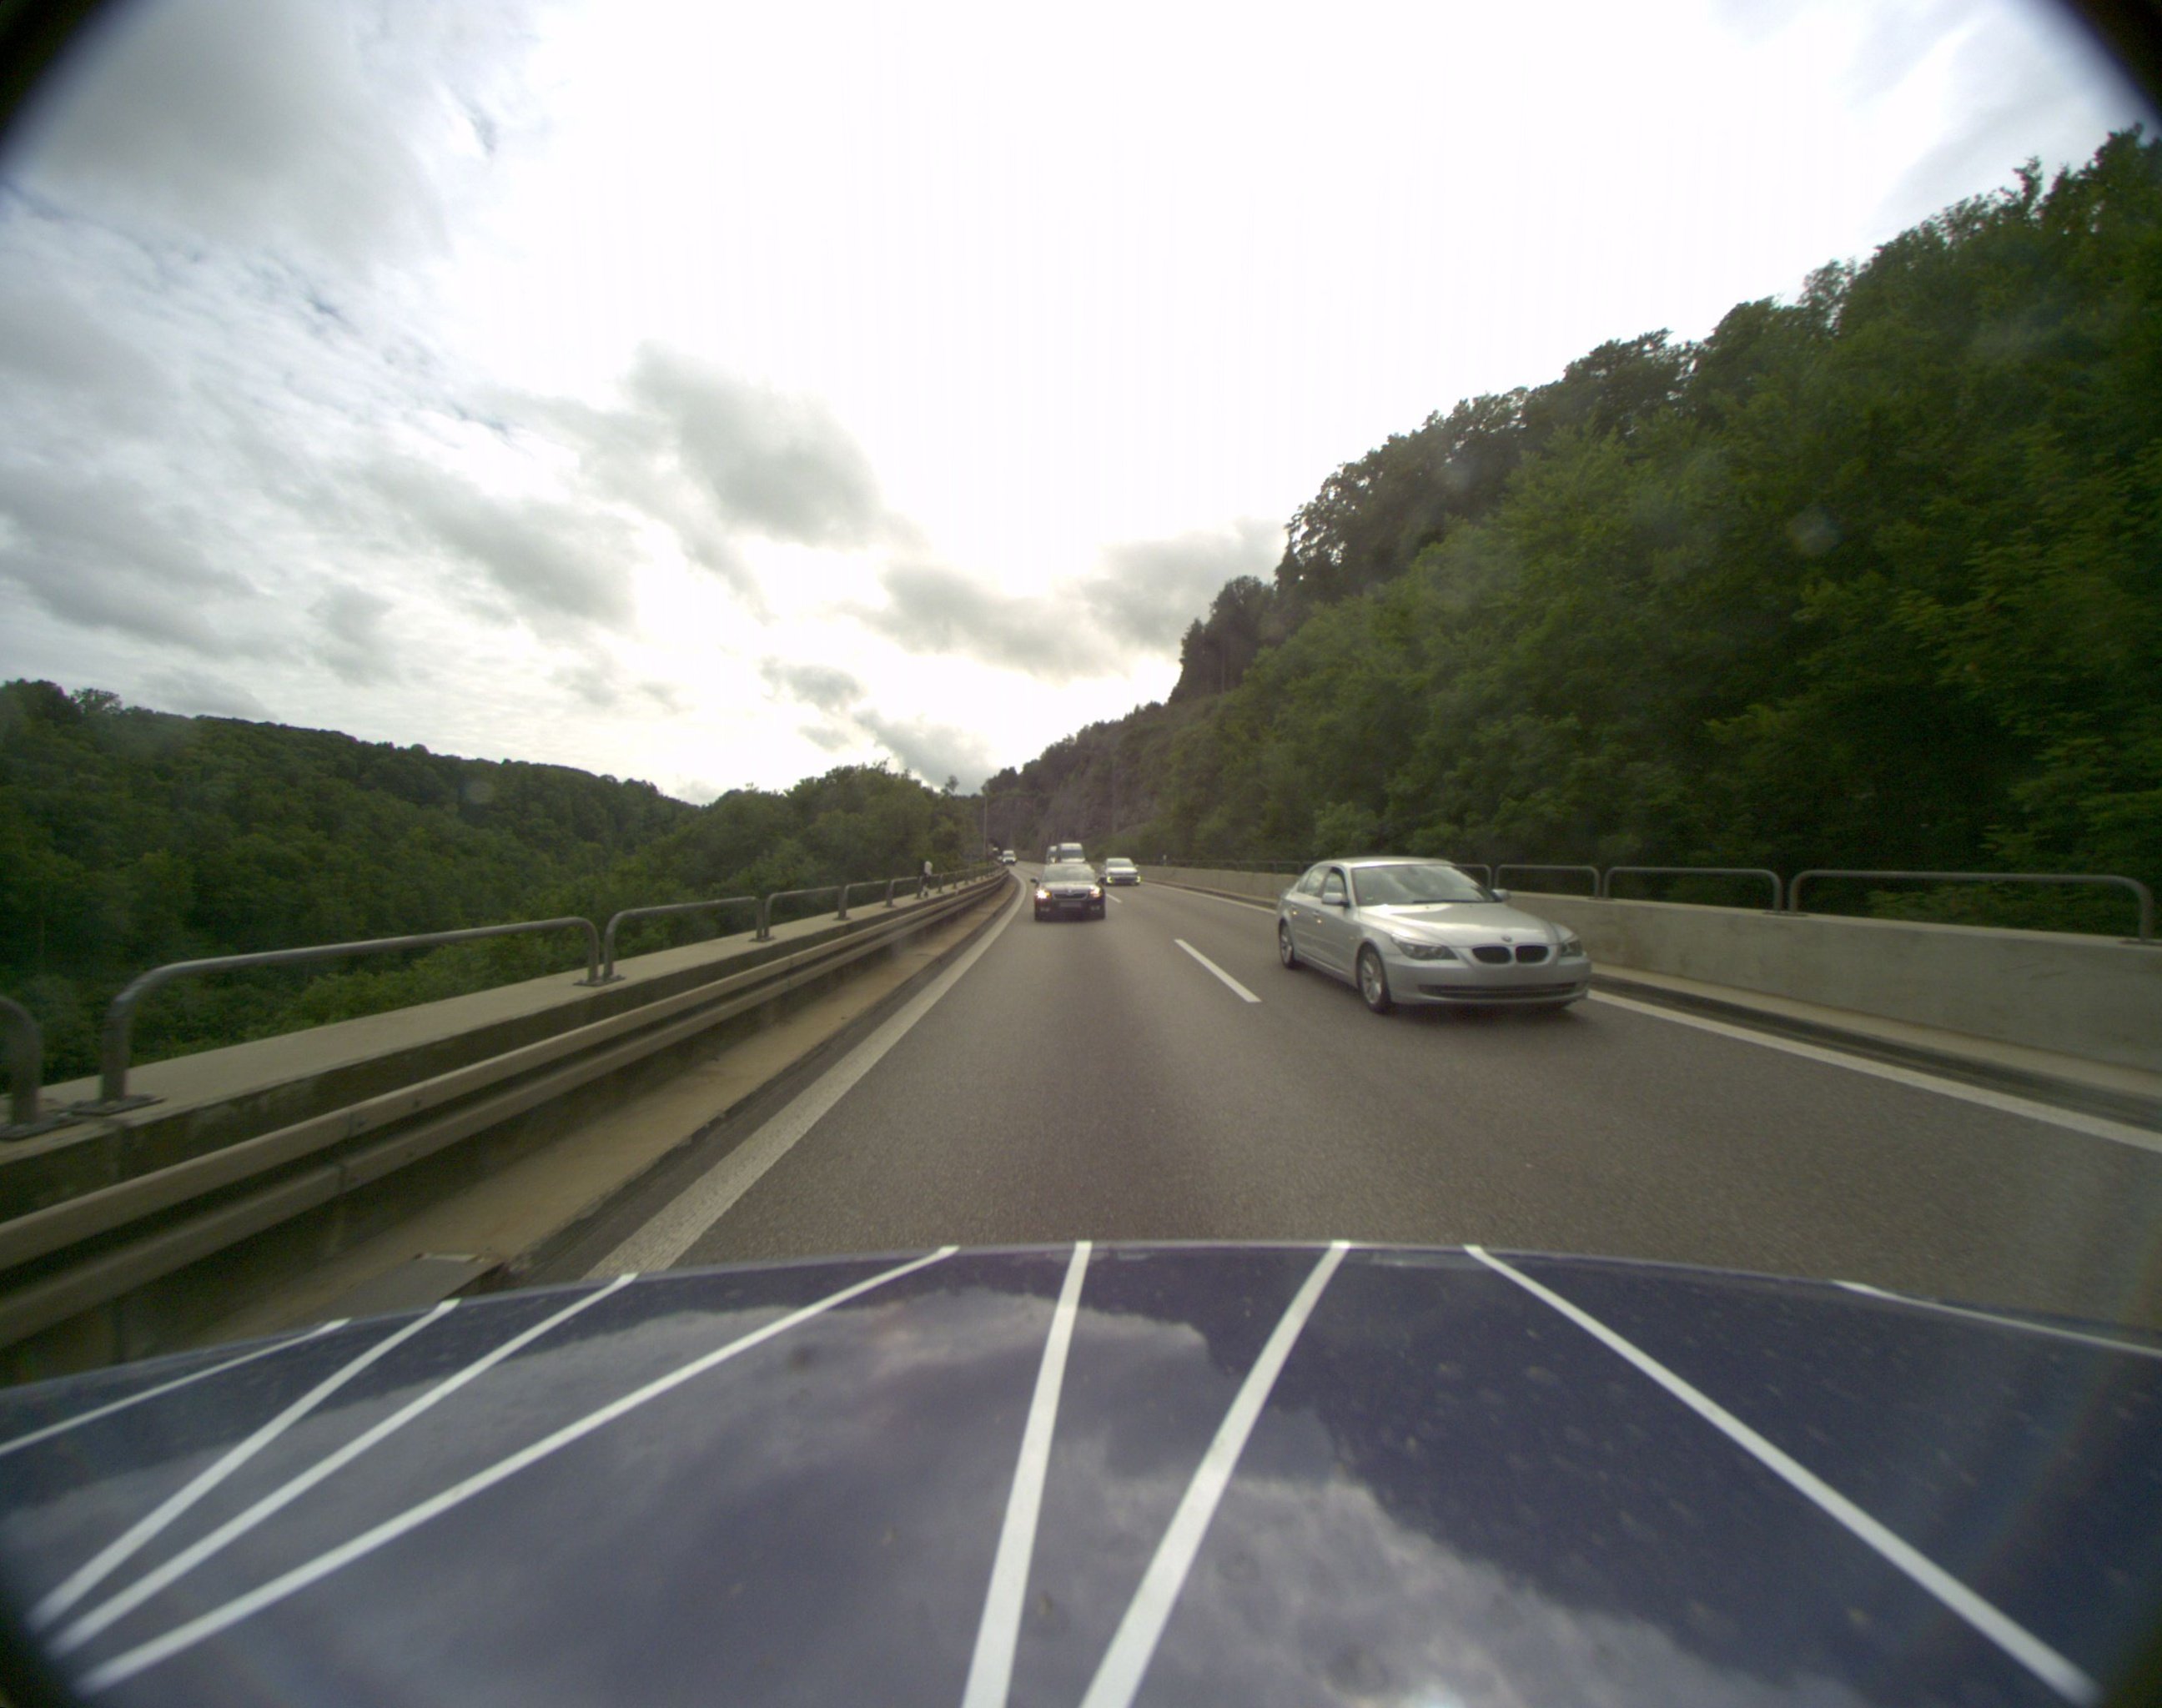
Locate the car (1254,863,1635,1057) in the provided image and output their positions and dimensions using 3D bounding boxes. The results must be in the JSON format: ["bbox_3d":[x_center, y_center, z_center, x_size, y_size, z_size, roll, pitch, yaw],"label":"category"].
[{"bbox_3d":[3.510,0.880,8.672,1.833,1.448,5.134,-2,0,-1],"label":"car"}]

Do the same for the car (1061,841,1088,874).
[{"bbox_3d":[-0.573,0.242,61.513,1.869,2.444,4.980,-2,2,-3],"label":"car"}]

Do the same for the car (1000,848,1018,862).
[{"bbox_3d":[-12.398,0.188,131.213,2.676,2.408,6.116,-2,0,-8],"label":"car"}]

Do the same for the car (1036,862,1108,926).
[{"bbox_3d":[-0.282,0.969,20.340,1.677,1.418,4.472,-2,0,-2],"label":"car"}]

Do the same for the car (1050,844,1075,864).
[{"bbox_3d":[-2.039,-0.014,83.606,2.231,2.061,5.621,-2,0,-6],"label":"car"}]

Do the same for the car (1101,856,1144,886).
[{"bbox_3d":[2.171,0.886,41.156,1.923,1.452,4.230,-2,0,-2],"label":"car"}]
